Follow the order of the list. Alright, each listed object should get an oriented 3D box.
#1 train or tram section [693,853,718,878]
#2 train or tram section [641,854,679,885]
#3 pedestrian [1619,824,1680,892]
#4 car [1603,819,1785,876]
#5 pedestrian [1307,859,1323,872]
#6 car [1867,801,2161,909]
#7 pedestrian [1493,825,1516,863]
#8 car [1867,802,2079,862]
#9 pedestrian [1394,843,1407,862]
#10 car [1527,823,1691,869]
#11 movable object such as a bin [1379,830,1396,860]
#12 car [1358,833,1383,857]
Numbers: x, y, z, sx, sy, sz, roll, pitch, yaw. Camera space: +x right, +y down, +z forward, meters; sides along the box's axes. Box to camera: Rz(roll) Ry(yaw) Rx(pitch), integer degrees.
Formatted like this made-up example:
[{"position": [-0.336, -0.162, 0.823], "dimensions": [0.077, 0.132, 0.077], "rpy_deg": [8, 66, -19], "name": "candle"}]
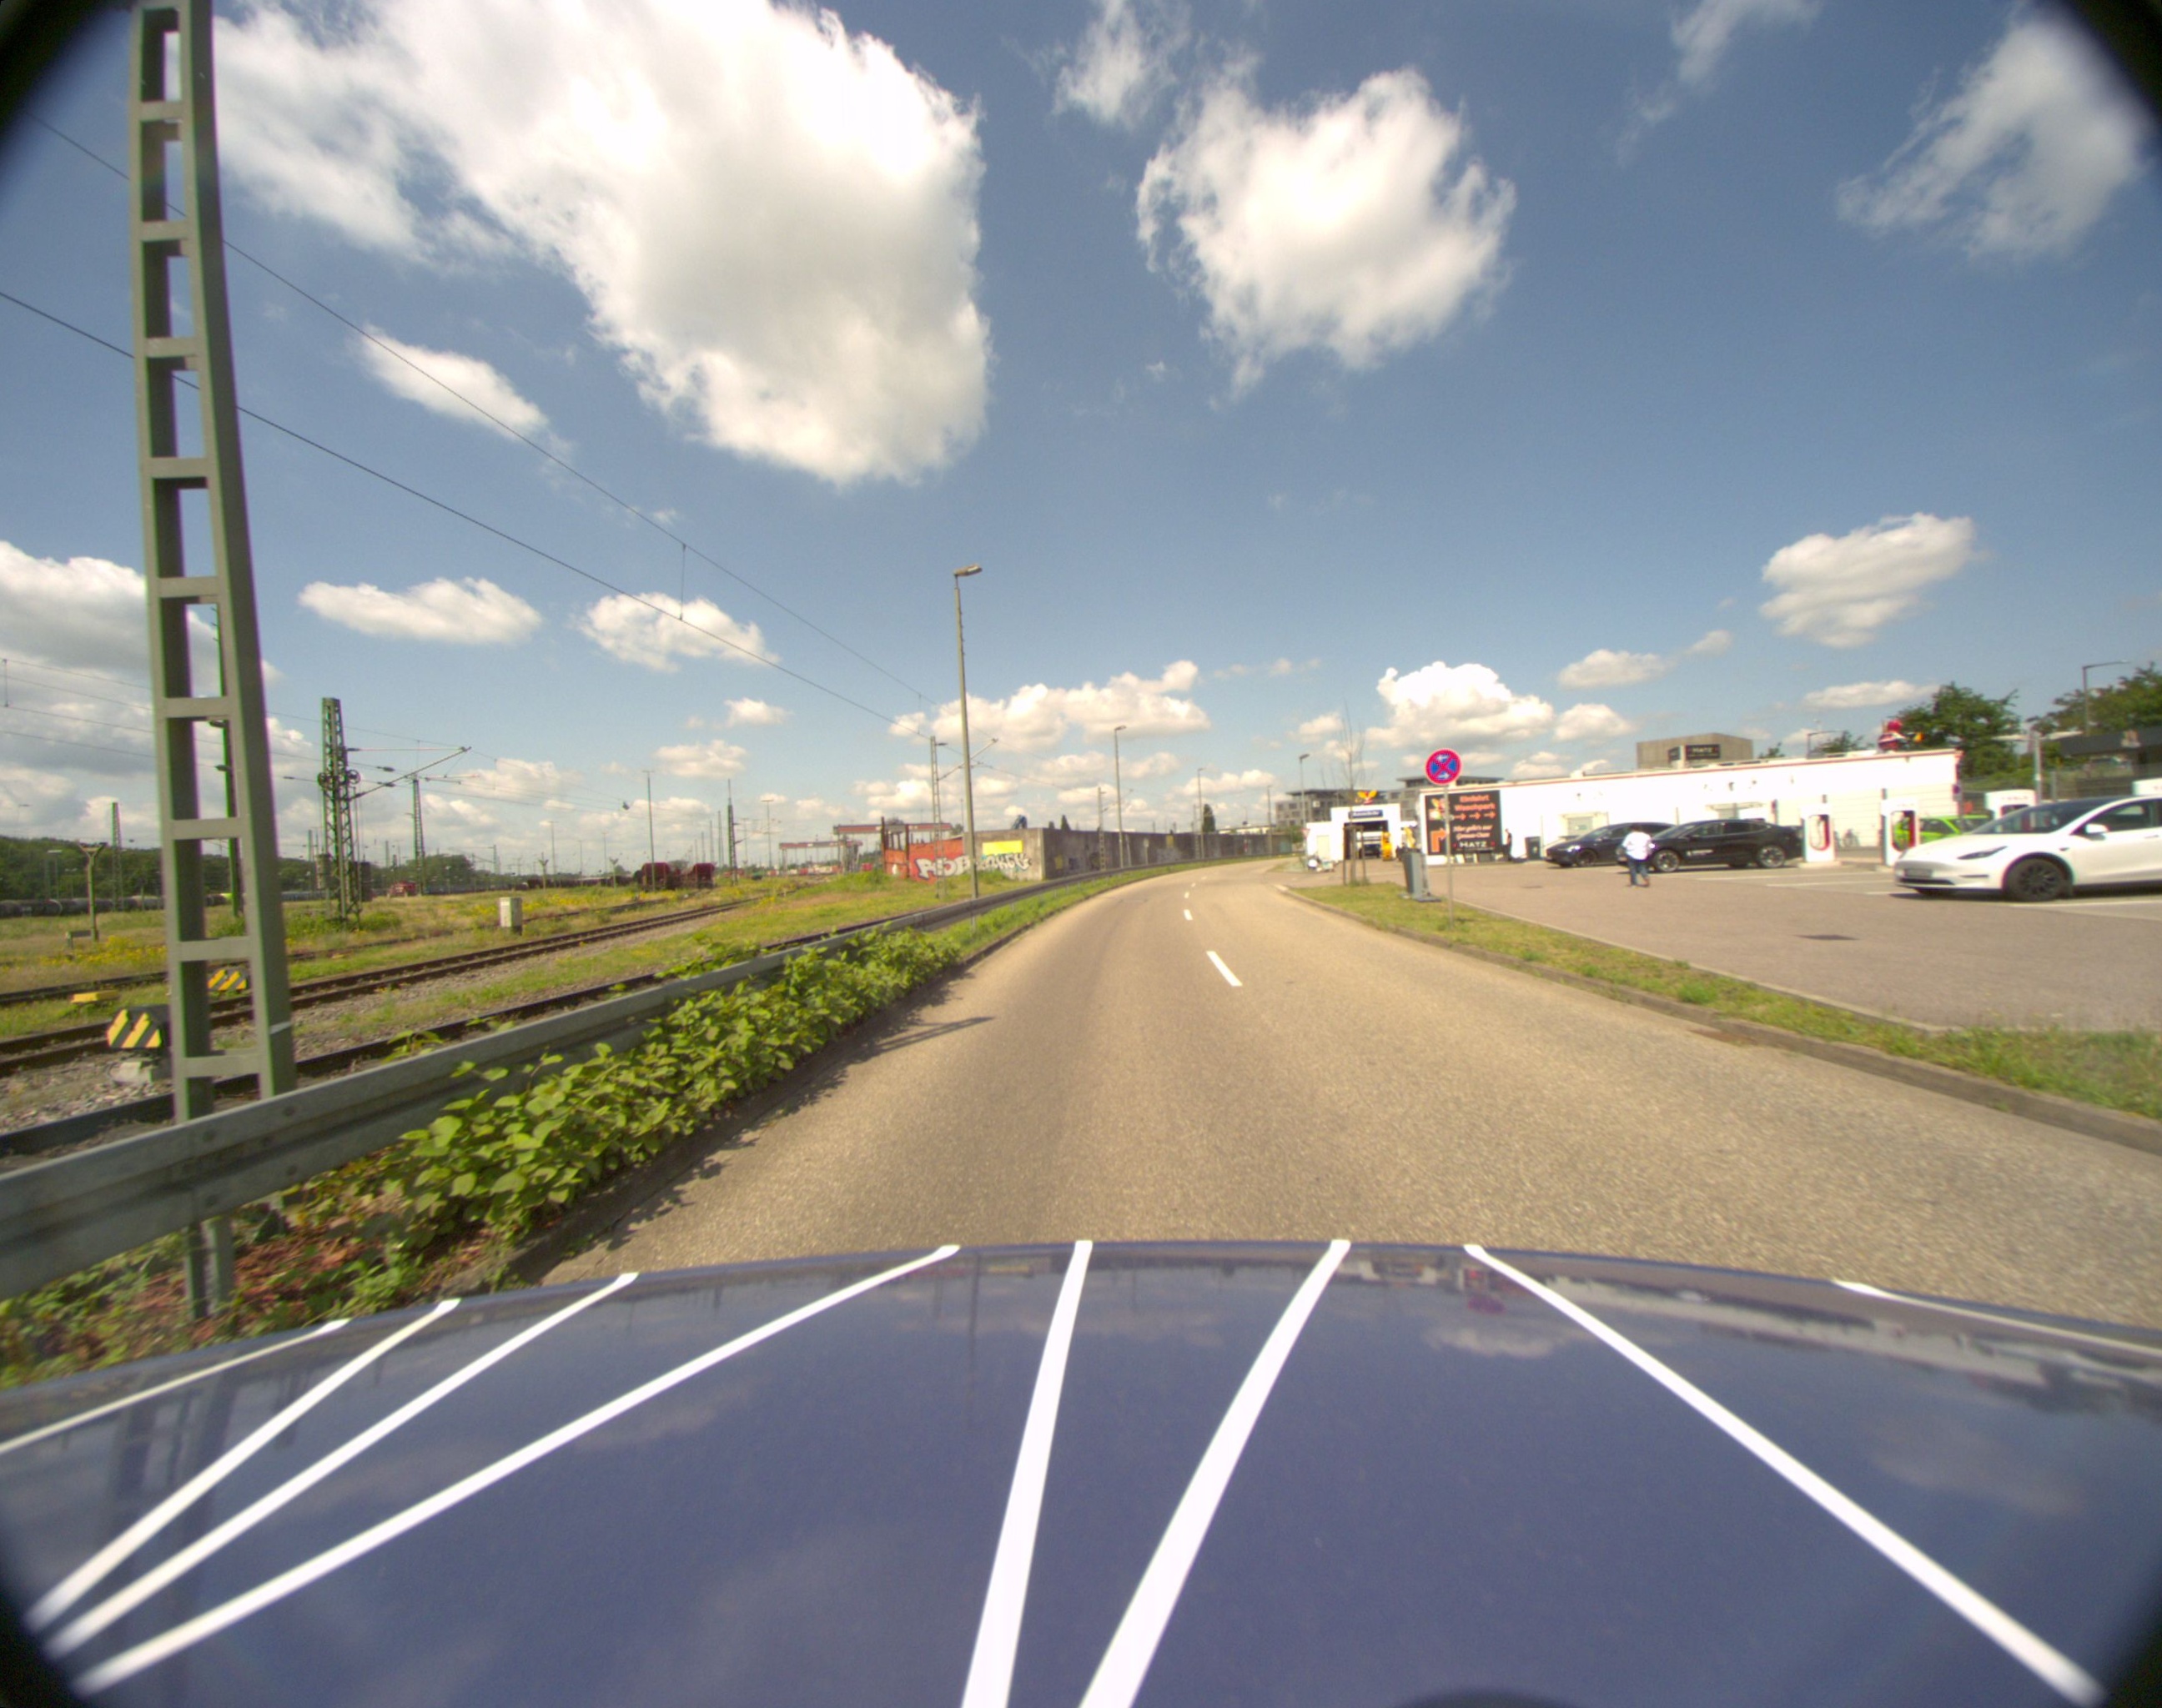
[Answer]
[{"position": [-60.232, 1.913, 122.069], "dimensions": [3.209, 3.695, 12.528], "rpy_deg": [-3, 0, -25], "name": "train or tram section"}, {"position": [-54.699, 2.031, 99.080], "dimensions": [3.306, 3.695, 12.528], "rpy_deg": [-3, 0, -25], "name": "train or tram section"}, {"position": [14.537, 0.108, 19.451], "dimensions": [0.864, 1.643, 0.941], "rpy_deg": [-3, 0, 10], "name": "pedestrian"}, {"position": [19.448, -0.195, 24.304], "dimensions": [3.994, 1.510, 2.001], "rpy_deg": [-4, 1, 11], "name": "car"}, {"position": [14.674, 0.704, 47.642], "dimensions": [0.863, 0.755, 0.819], "rpy_deg": [-2, 0, 20], "name": "pedestrian"}, {"position": [16.718, -0.032, 12.759], "dimensions": [4.559, 1.515, 2.001], "rpy_deg": [-4, 0, 10], "name": "car"}, {"position": [23.238, -0.567, 41.690], "dimensions": [0.939, 2.002, 0.866], "rpy_deg": [-3, 3, 20], "name": "pedestrian"}, {"position": [25.956, -0.635, 22.378], "dimensions": [1.919, 1.473, 4.303], "rpy_deg": [-3, 0, 15], "name": "car"}, {"position": [22.351, -0.092, 53.213], "dimensions": [0.754, 1.249, 0.900], "rpy_deg": [-3, 0, 23], "name": "pedestrian"}, {"position": [20.700, -0.295, 30.011], "dimensions": [4.754, 1.447, 2.239], "rpy_deg": [-4, 0, 10], "name": "car"}, {"position": [24.012, -0.726, 59.548], "dimensions": [1.064, 2.140, 2.707], "rpy_deg": [-3, 2, 22], "name": "movable object such as a bin"}, {"position": [26.513, -0.841, 69.623], "dimensions": [1.996, 2.097, 5.017], "rpy_deg": [-2, 1, 21], "name": "car"}]
